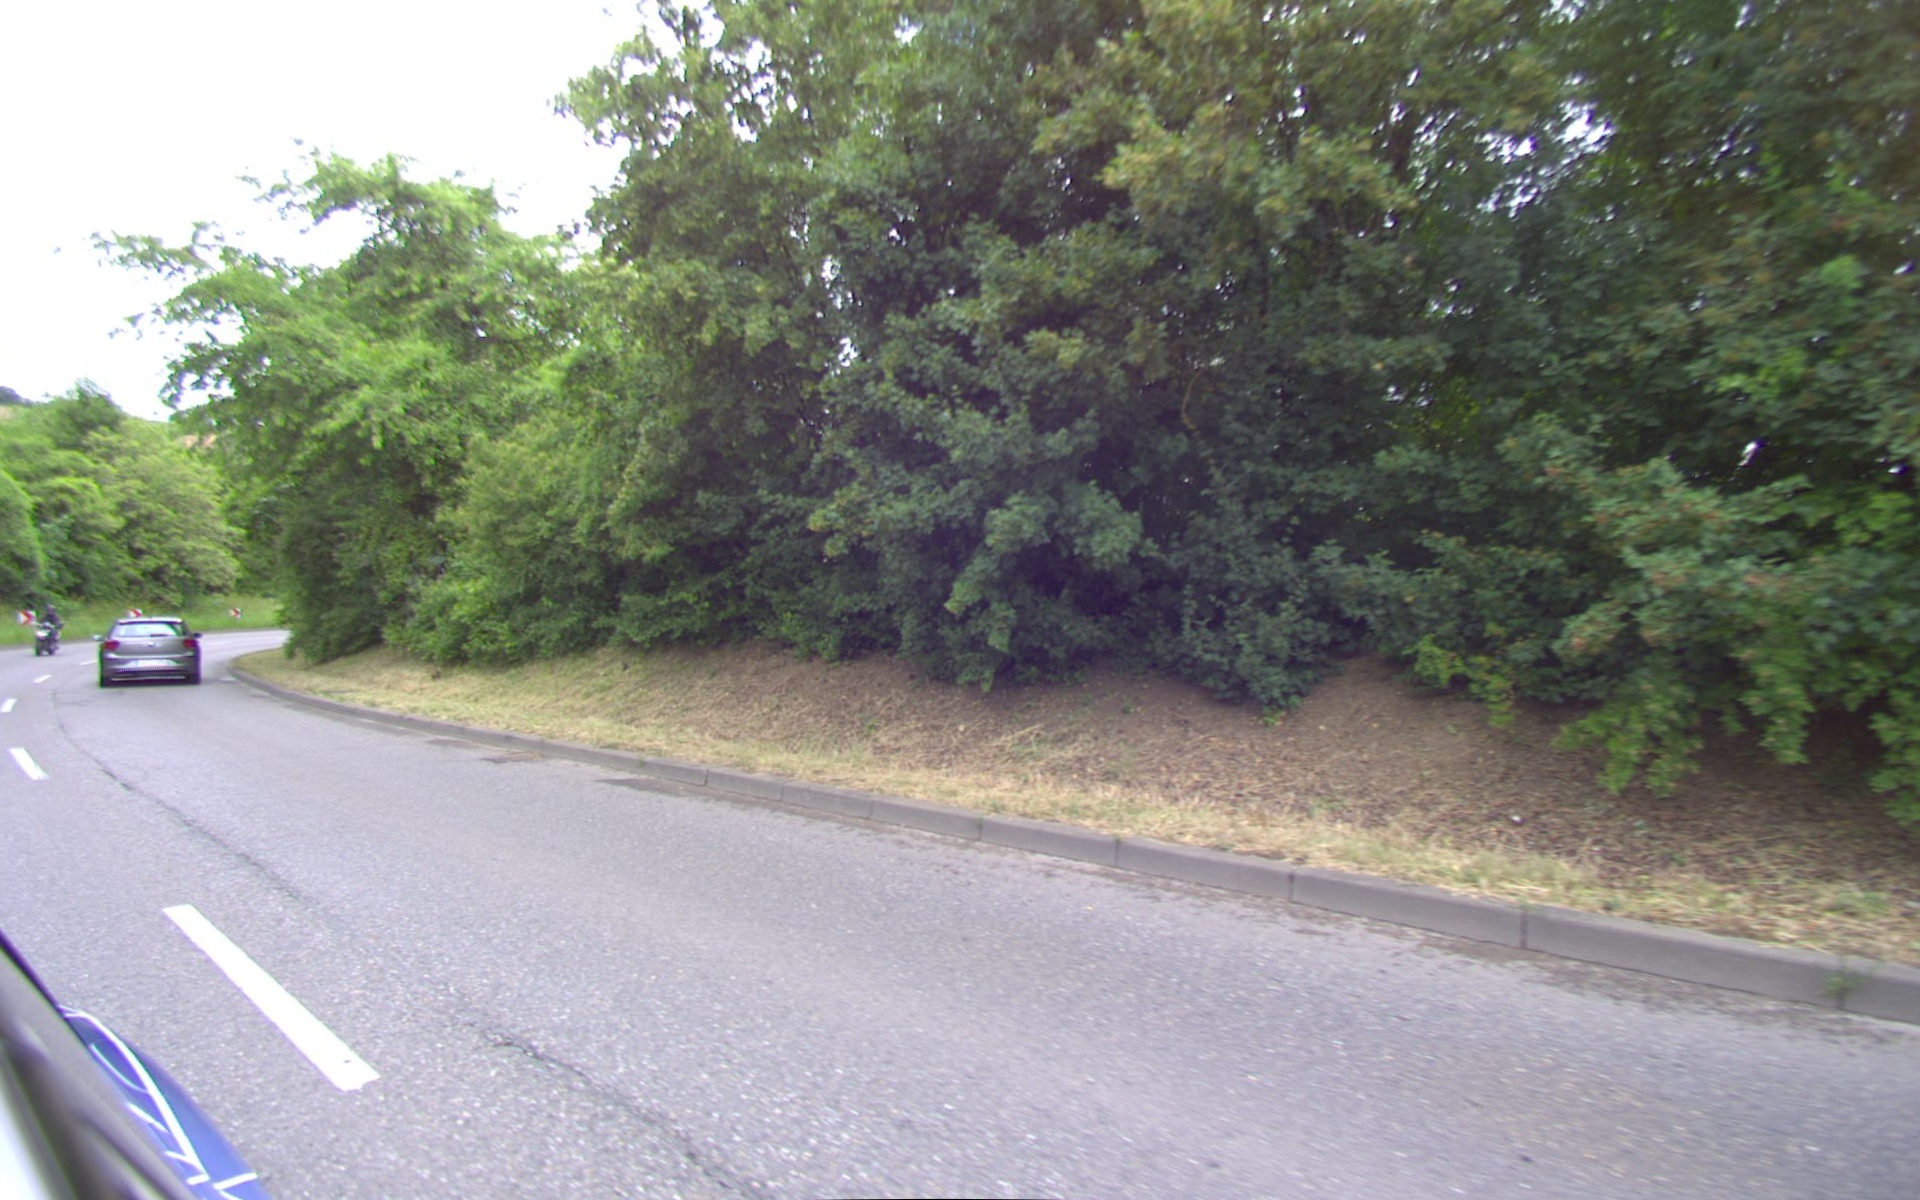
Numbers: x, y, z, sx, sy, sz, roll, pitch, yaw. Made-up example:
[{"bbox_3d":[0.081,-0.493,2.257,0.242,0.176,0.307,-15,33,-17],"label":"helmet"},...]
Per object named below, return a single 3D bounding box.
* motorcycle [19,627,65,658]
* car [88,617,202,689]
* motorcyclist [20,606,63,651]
[{"bbox_3d":[-30.527,1.396,33.668,0.691,0.983,1.700,3,-2,-28],"label":"motorcycle"},{"bbox_3d":[-17.743,1.095,21.990,1.614,1.416,3.600,0,-1,-44],"label":"car"},{"bbox_3d":[-30.447,0.947,33.574,0.805,1.477,0.789,3,-3,-28],"label":"motorcyclist"}]
